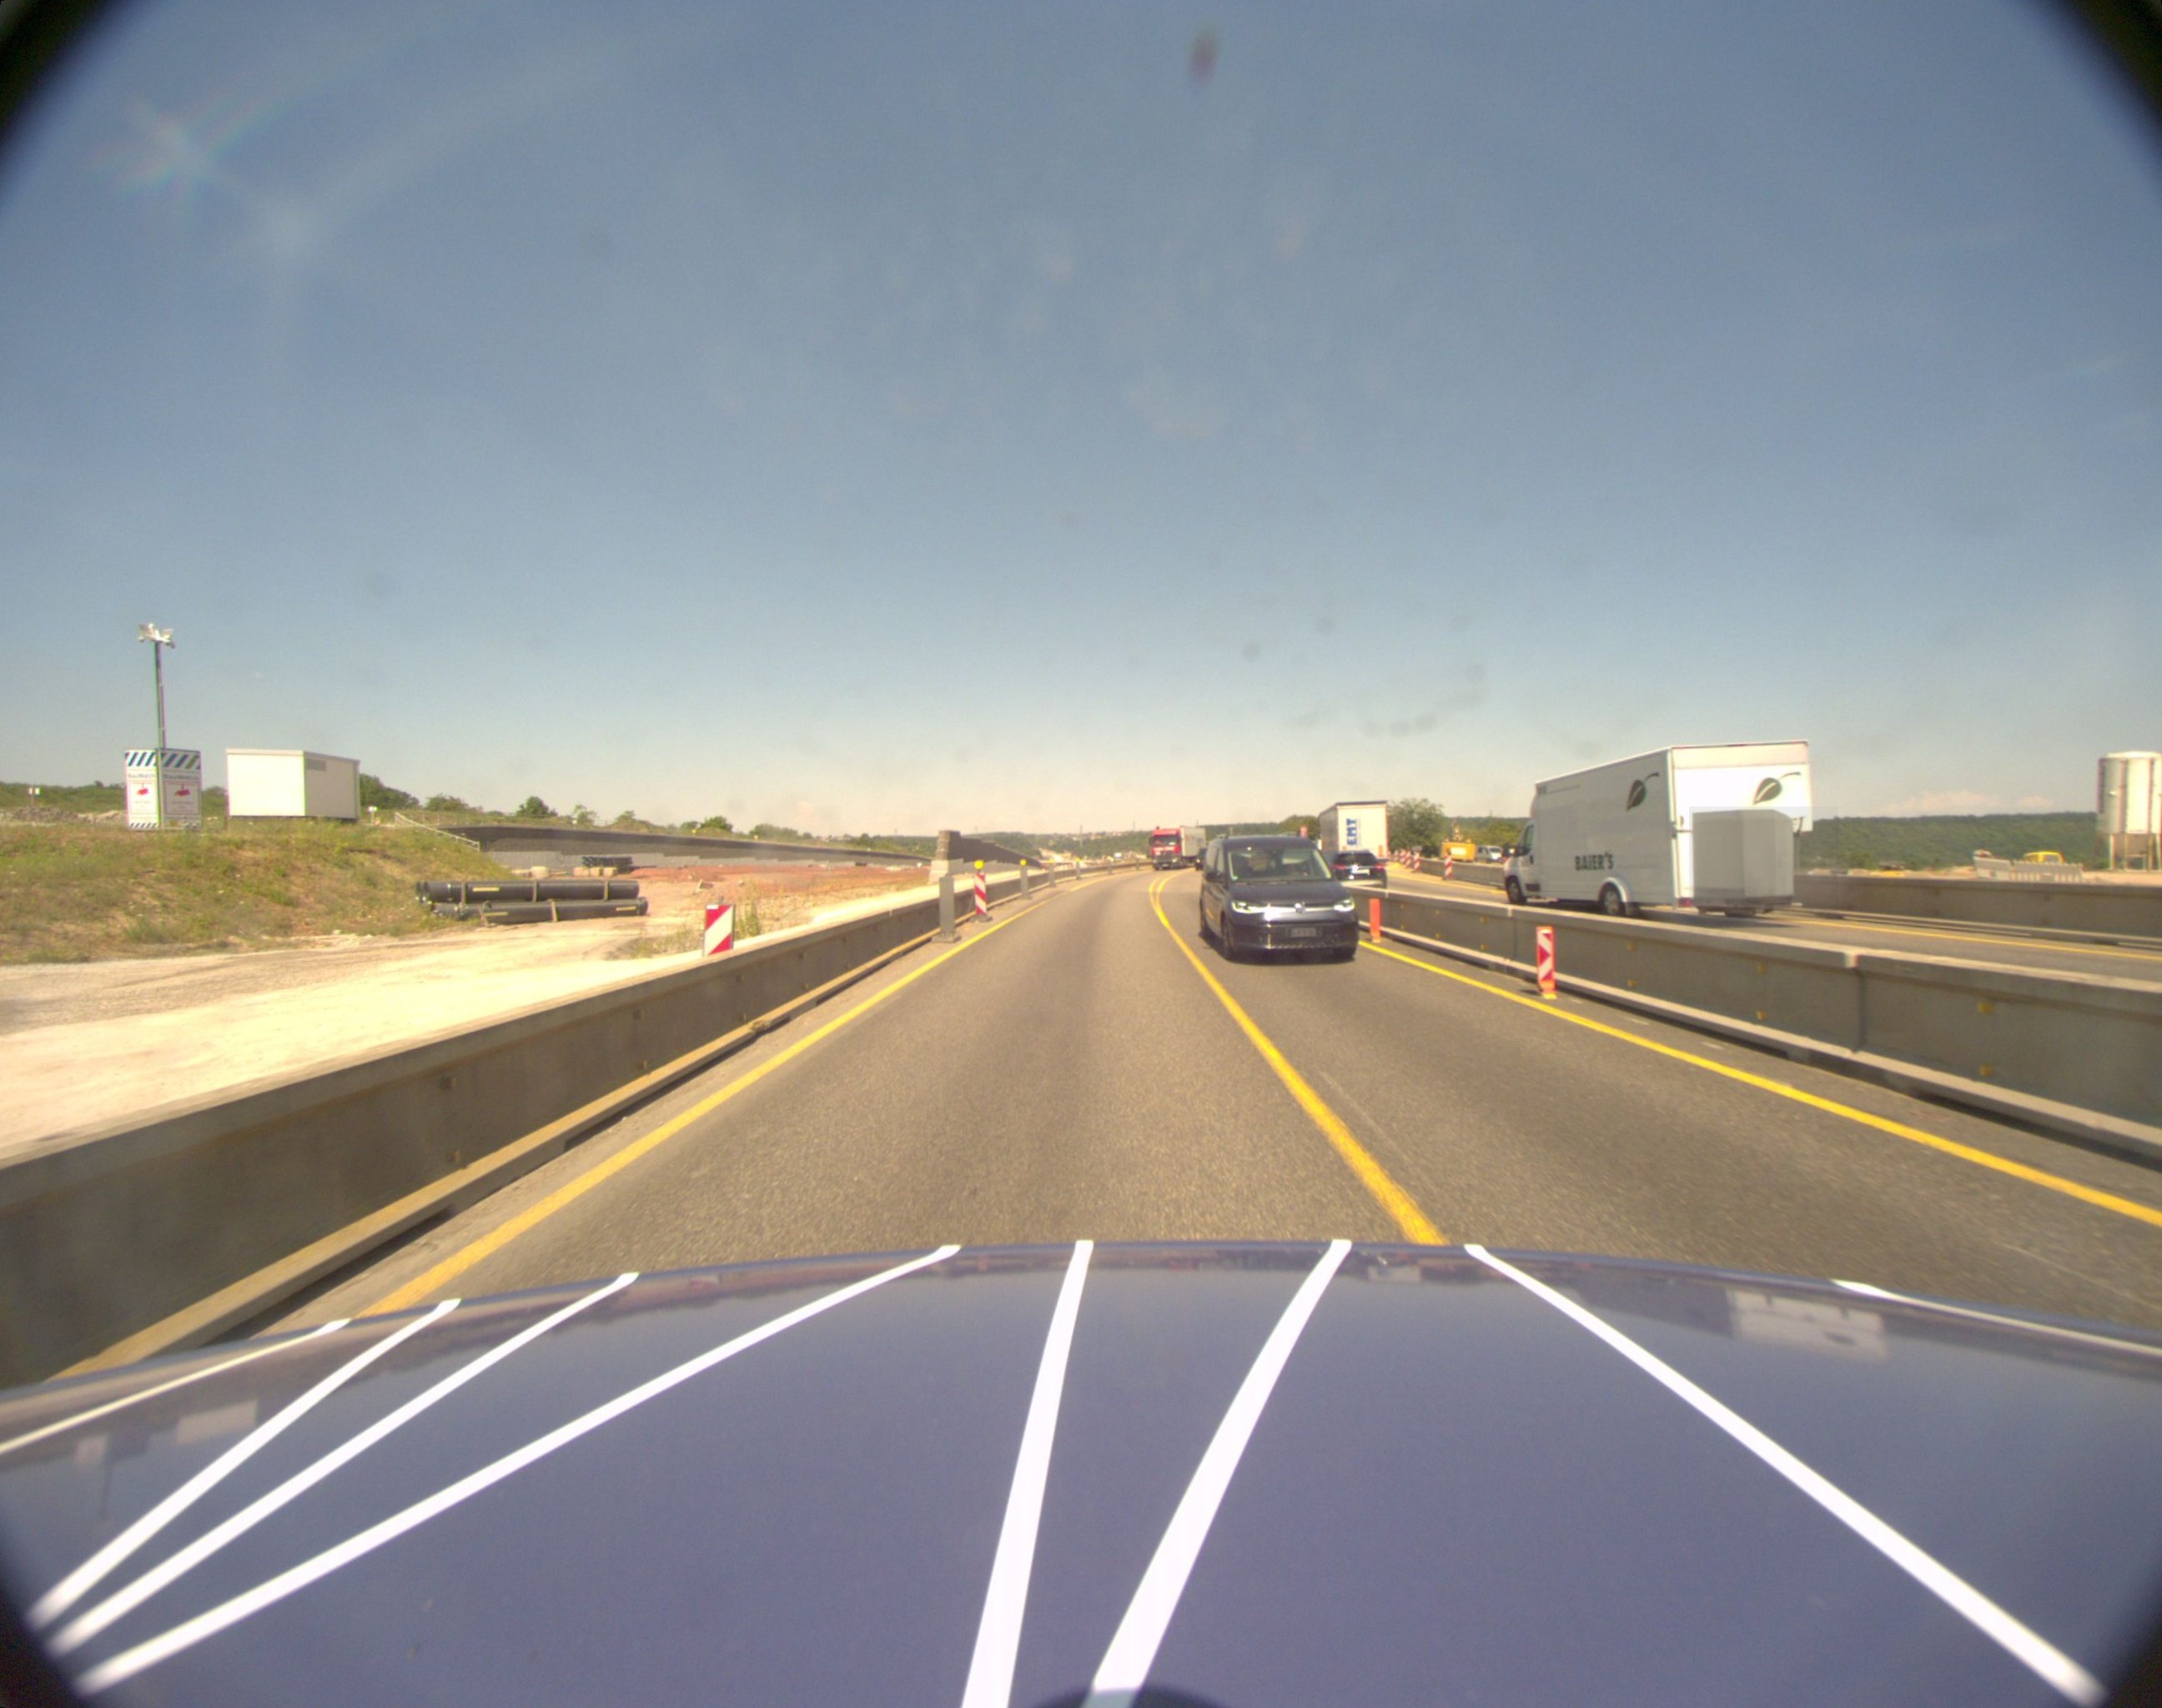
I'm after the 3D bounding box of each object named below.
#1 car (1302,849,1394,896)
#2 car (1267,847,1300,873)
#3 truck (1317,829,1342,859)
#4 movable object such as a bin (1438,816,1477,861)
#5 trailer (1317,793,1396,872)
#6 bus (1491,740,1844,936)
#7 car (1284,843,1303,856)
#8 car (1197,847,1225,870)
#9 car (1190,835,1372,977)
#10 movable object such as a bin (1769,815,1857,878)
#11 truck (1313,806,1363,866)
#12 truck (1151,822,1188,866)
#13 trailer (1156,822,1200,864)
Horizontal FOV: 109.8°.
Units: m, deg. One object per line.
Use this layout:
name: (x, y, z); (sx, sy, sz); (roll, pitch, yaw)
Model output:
car: (8.729, 0.559, 25.255); (1.812, 1.406, 4.400); (-1, 0, 4)
car: (12.289, 0.316, 45.924); (1.798, 1.467, 4.783); (-1, 0, 16)
truck: (27.219, -1.082, 83.164); (2.444, 3.054, 7.257); (-1, 0, 18)
movable object such as a bin: (38.637, -1.492, 78.165); (2.926, 4.304, 9.340); (-1, 0, 22)
trailer: (16.513, -1.157, 46.562); (2.764, 4.090, 13.990); (-1, 0, 12)
bus: (11.320, -0.264, 15.780); (2.354, 3.107, 7.231); (-1, 0, 6)
car: (34.307, -0.733, 122.814); (1.870, 1.942, 4.893); (-1, 0, 4)
car: (10.728, 0.331, 62.432); (1.796, 1.776, 4.005); (-1, 0, 16)
car: (2.900, 0.654, 12.086); (1.925, 1.779, 4.604); (-2, 0, 4)
movable object such as a bin: (38.843, -0.390, 40.458); (1.995, 3.122, 4.284); (-1, 1, 24)
truck: (18.067, -1.214, 53.694); (2.706, 4.038, 5.506); (-1, 0, 13)
truck: (8.138, -0.882, 69.270); (2.624, 3.880, 4.939); (-1, 1, 15)
trailer: (9.809, -1.031, 75.486); (2.698, 3.852, 12.435); (-1, 0, 14)
